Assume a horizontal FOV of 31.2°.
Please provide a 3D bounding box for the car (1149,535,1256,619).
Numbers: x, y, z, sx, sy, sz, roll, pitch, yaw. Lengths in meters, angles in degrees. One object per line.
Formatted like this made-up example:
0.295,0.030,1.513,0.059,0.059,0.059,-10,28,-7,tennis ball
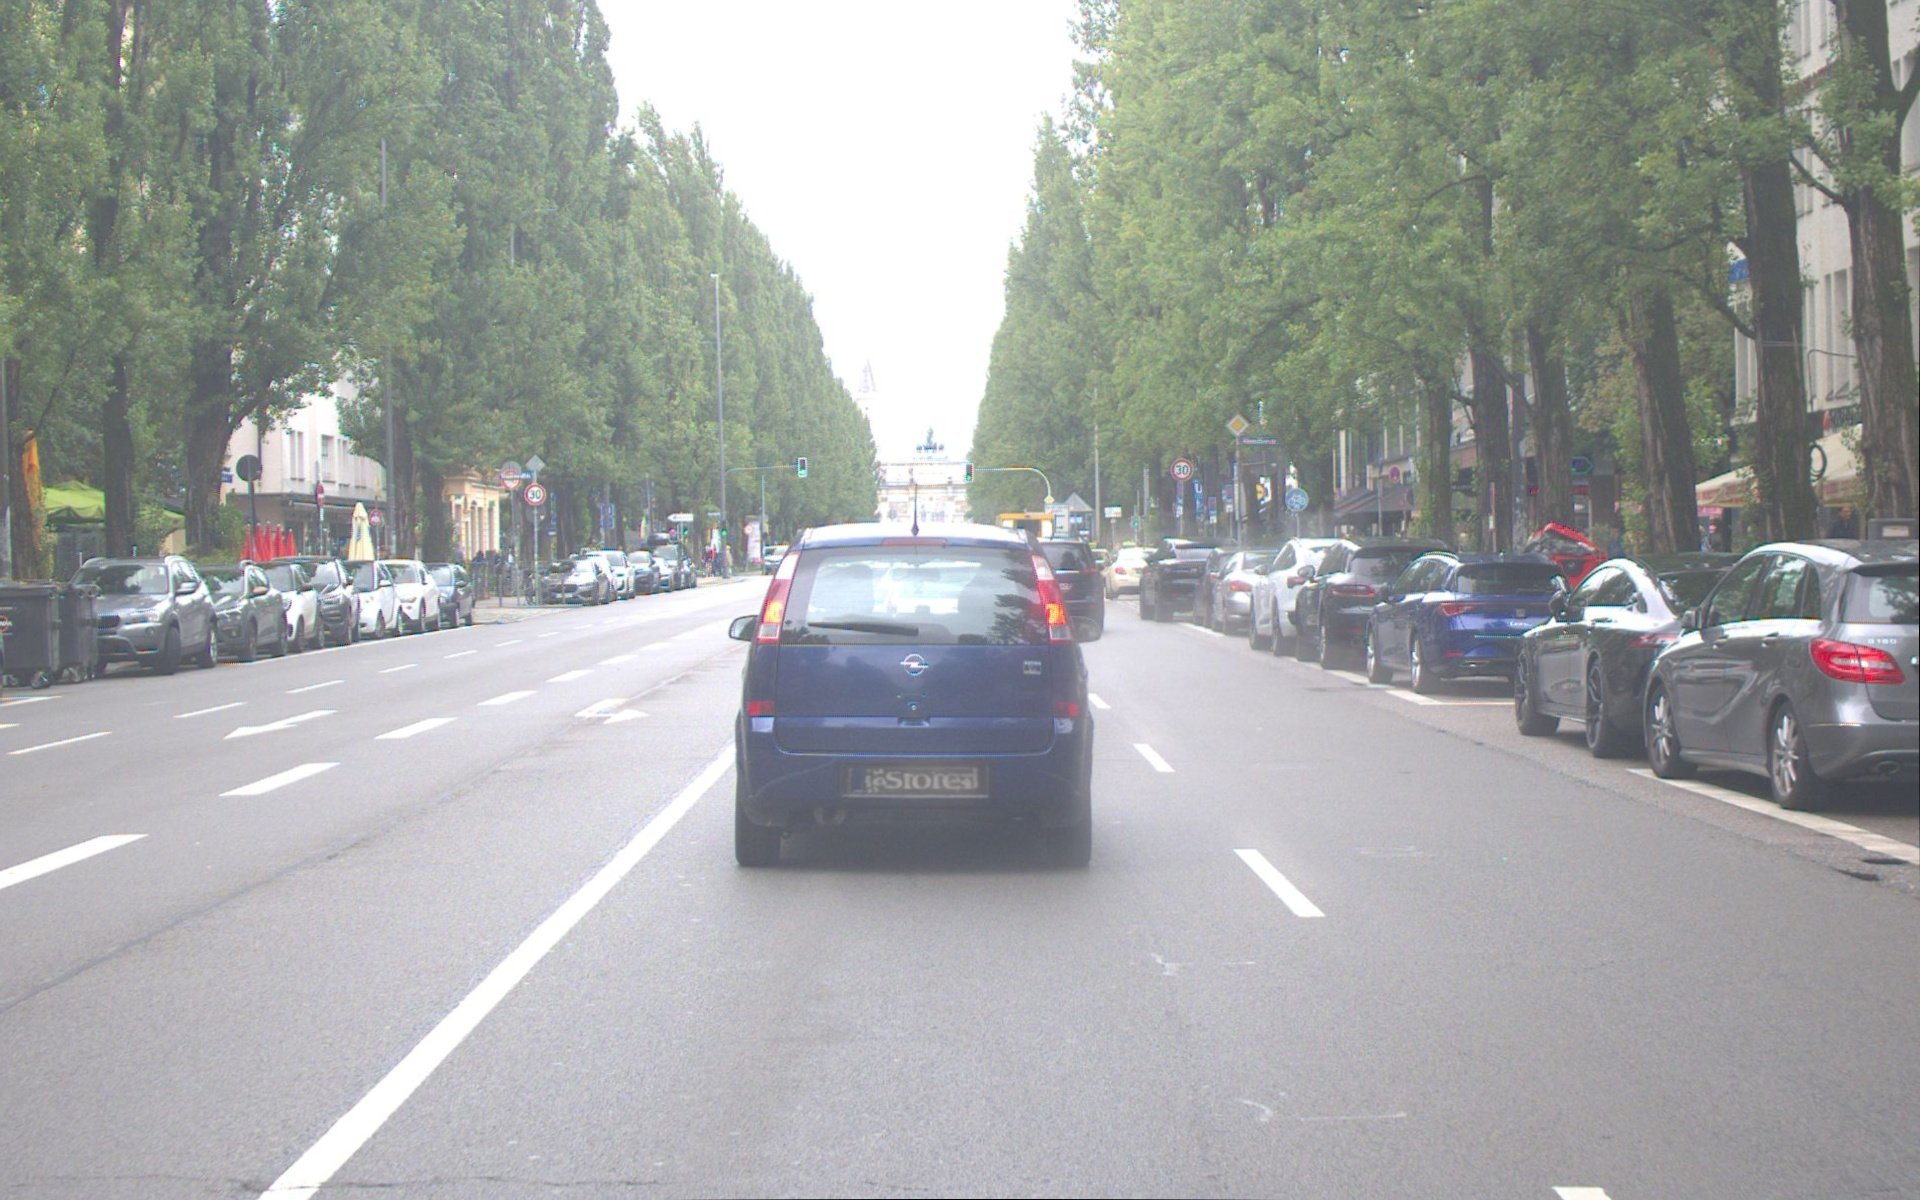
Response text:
4.782,-0.485,68.250,1.797,1.588,4.104,1,1,0,car

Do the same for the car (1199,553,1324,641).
5.094,-0.080,58.495,1.670,1.401,4.128,1,1,-1,car

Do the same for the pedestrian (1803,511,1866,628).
13.725,-0.485,53.970,0.729,1.796,0.931,-1,1,0,pedestrian

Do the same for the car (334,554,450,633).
-11.710,-0.154,71.091,1.835,1.541,4.087,-1,1,-2,car

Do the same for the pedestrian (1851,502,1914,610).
14.471,-0.696,53.946,0.729,1.671,0.931,-1,1,0,pedestrian

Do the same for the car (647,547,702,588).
-11.877,-1.365,143.182,1.993,1.656,4.000,-1,1,-1,car

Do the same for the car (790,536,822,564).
-9.702,-3.147,216.903,1.835,1.733,3.779,-1,1,-1,car

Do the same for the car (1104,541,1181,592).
5.030,-0.938,95.324,1.897,1.358,3.900,-1,1,0,car

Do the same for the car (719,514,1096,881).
-0.280,0.391,17.332,1.681,1.635,4.000,0,1,-1,car

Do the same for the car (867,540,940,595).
-1.610,-0.928,97.138,1.993,1.492,4.000,-1,1,-1,car

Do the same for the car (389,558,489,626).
-11.552,-0.202,76.396,1.586,1.442,3.390,-1,1,2,car

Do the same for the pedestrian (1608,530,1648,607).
15.091,-0.714,77.714,0.727,1.745,0.860,0,0,0,pedestrian

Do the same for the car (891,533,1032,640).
-0.018,-0.232,51.283,1.993,1.492,4.000,-1,1,-1,car

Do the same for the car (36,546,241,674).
-11.718,0.096,49.323,1.864,1.649,4.616,-3,1,-1,car

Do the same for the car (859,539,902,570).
-3.752,-2.165,163.163,1.961,1.394,3.779,-1,1,-1,car

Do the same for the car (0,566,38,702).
-11.511,0.437,37.450,1.663,1.499,4.313,-3,1,1,car

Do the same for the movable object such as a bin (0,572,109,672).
-12.274,0.288,46.509,1.313,1.312,0.819,-1,1,-1,movable object such as a bin

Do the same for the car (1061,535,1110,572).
4.734,-1.761,130.020,1.669,1.348,4.104,-1,1,0,car

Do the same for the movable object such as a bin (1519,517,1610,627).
9.554,-0.447,54.376,1.032,1.697,1.587,-1,1,-4,movable object such as a bin

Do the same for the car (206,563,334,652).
-11.741,0.105,58.633,1.631,1.423,2.984,-1,1,-1,car

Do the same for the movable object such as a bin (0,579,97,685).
-11.698,0.400,43.558,1.277,1.305,0.902,-1,1,0,movable object such as a bin

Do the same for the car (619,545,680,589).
-11.417,-1.231,126.674,1.961,1.525,4.000,-1,1,-2,car

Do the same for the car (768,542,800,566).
-11.430,-3.002,223.455,1.961,1.543,3.779,-1,1,-1,car

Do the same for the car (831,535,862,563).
-7.064,-3.192,214.878,1.835,1.671,3.779,-1,1,-1,car

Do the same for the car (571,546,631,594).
-11.946,-1.007,114.463,1.654,1.556,3.458,-1,1,-1,car

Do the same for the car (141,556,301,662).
-11.554,0.114,53.963,1.697,1.545,4.083,-1,1,-1,car

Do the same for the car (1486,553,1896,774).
5.293,0.395,25.554,1.878,1.427,4.805,-1,1,-2,car

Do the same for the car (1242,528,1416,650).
5.105,-0.183,48.157,1.827,1.615,4.748,0,1,-1,car

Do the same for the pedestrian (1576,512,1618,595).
12.644,-0.924,68.226,0.653,1.621,0.704,-1,1,-3,pedestrian

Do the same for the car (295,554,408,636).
-11.829,-0.111,66.952,1.573,1.528,2.922,-1,1,2,car

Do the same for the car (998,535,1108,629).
1.604,-0.343,60.482,1.706,1.568,4.000,-1,1,-2,car

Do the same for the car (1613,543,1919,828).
5.375,0.425,20.697,1.816,1.501,4.233,-1,1,-4,car

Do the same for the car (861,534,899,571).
-3.941,-2.366,170.238,1.835,1.755,3.779,-1,1,-1,car

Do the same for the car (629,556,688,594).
-11.595,-0.981,132.344,1.961,1.394,3.779,-1,1,-1,car

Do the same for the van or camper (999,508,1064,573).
2.891,-2.431,140.694,2.477,2.572,5.844,-1,1,0,van or camper

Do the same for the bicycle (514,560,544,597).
-12.281,-0.623,97.995,0.665,1.002,2.462,-1,1,-4,bicycle

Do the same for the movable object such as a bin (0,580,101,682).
-12.116,0.405,45.525,1.259,1.312,0.825,-1,1,-1,movable object such as a bin

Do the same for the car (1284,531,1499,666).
5.296,-0.057,42.732,1.993,1.560,4.484,-1,1,-1,car

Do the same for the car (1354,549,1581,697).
5.249,0.192,36.045,1.750,1.400,4.464,-1,1,1,car

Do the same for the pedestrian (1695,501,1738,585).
14.826,-1.118,67.374,0.653,1.621,0.704,-1,1,-3,pedestrian

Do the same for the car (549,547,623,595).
-11.231,-0.885,103.446,1.830,1.415,3.811,-1,1,-1,car

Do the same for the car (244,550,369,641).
-11.865,-0.112,62.621,1.840,1.560,4.180,-1,1,-6,car
